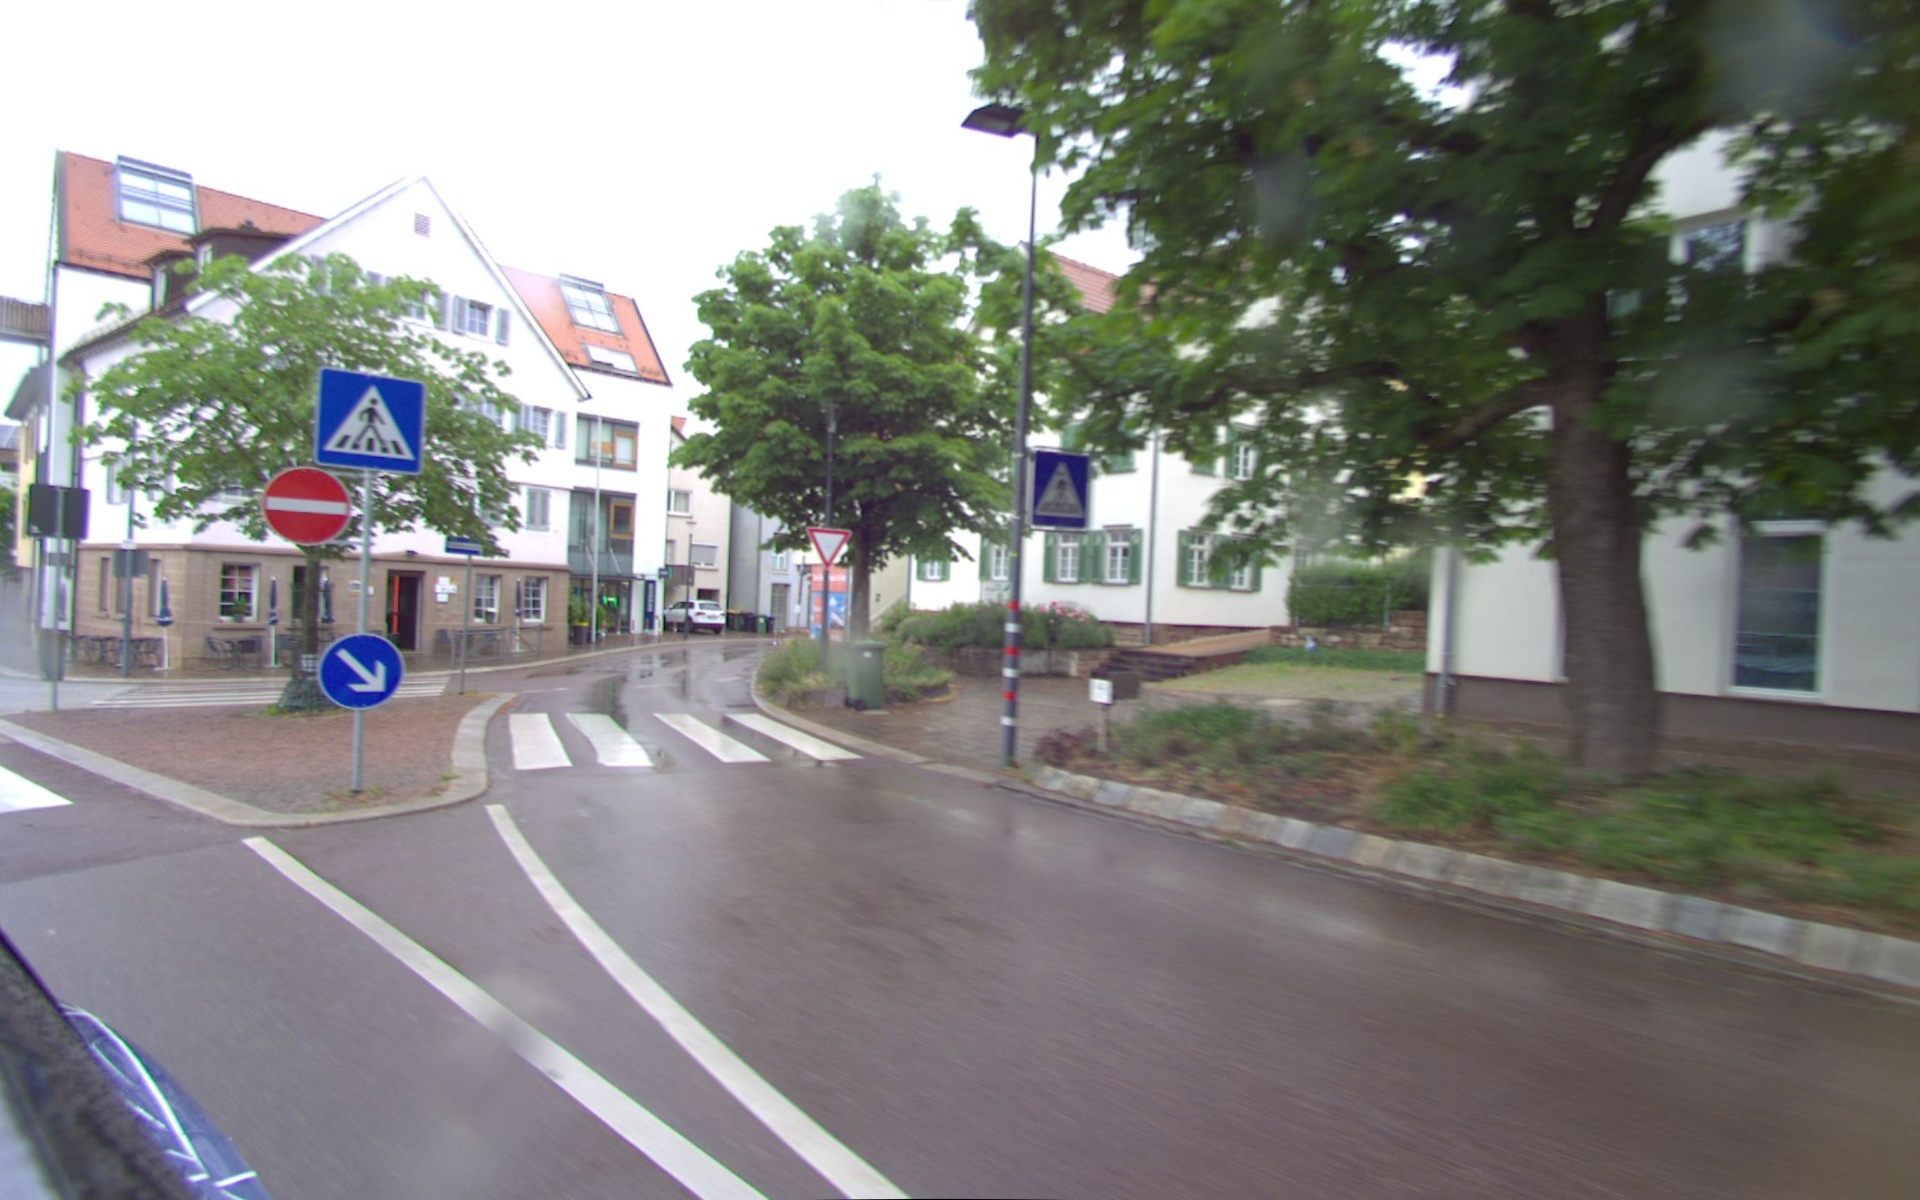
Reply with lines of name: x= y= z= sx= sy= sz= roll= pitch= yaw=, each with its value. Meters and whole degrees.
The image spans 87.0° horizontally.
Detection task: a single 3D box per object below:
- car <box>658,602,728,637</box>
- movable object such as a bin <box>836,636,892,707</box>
car: x=-13.631 y=0.978 z=51.584 sx=1.803 sy=1.634 sz=3.894 roll=4 pitch=-2 yaw=-42
movable object such as a bin: x=-1.513 y=1.124 z=15.922 sx=0.625 sy=1.067 sz=0.700 roll=3 pitch=-2 yaw=-26
